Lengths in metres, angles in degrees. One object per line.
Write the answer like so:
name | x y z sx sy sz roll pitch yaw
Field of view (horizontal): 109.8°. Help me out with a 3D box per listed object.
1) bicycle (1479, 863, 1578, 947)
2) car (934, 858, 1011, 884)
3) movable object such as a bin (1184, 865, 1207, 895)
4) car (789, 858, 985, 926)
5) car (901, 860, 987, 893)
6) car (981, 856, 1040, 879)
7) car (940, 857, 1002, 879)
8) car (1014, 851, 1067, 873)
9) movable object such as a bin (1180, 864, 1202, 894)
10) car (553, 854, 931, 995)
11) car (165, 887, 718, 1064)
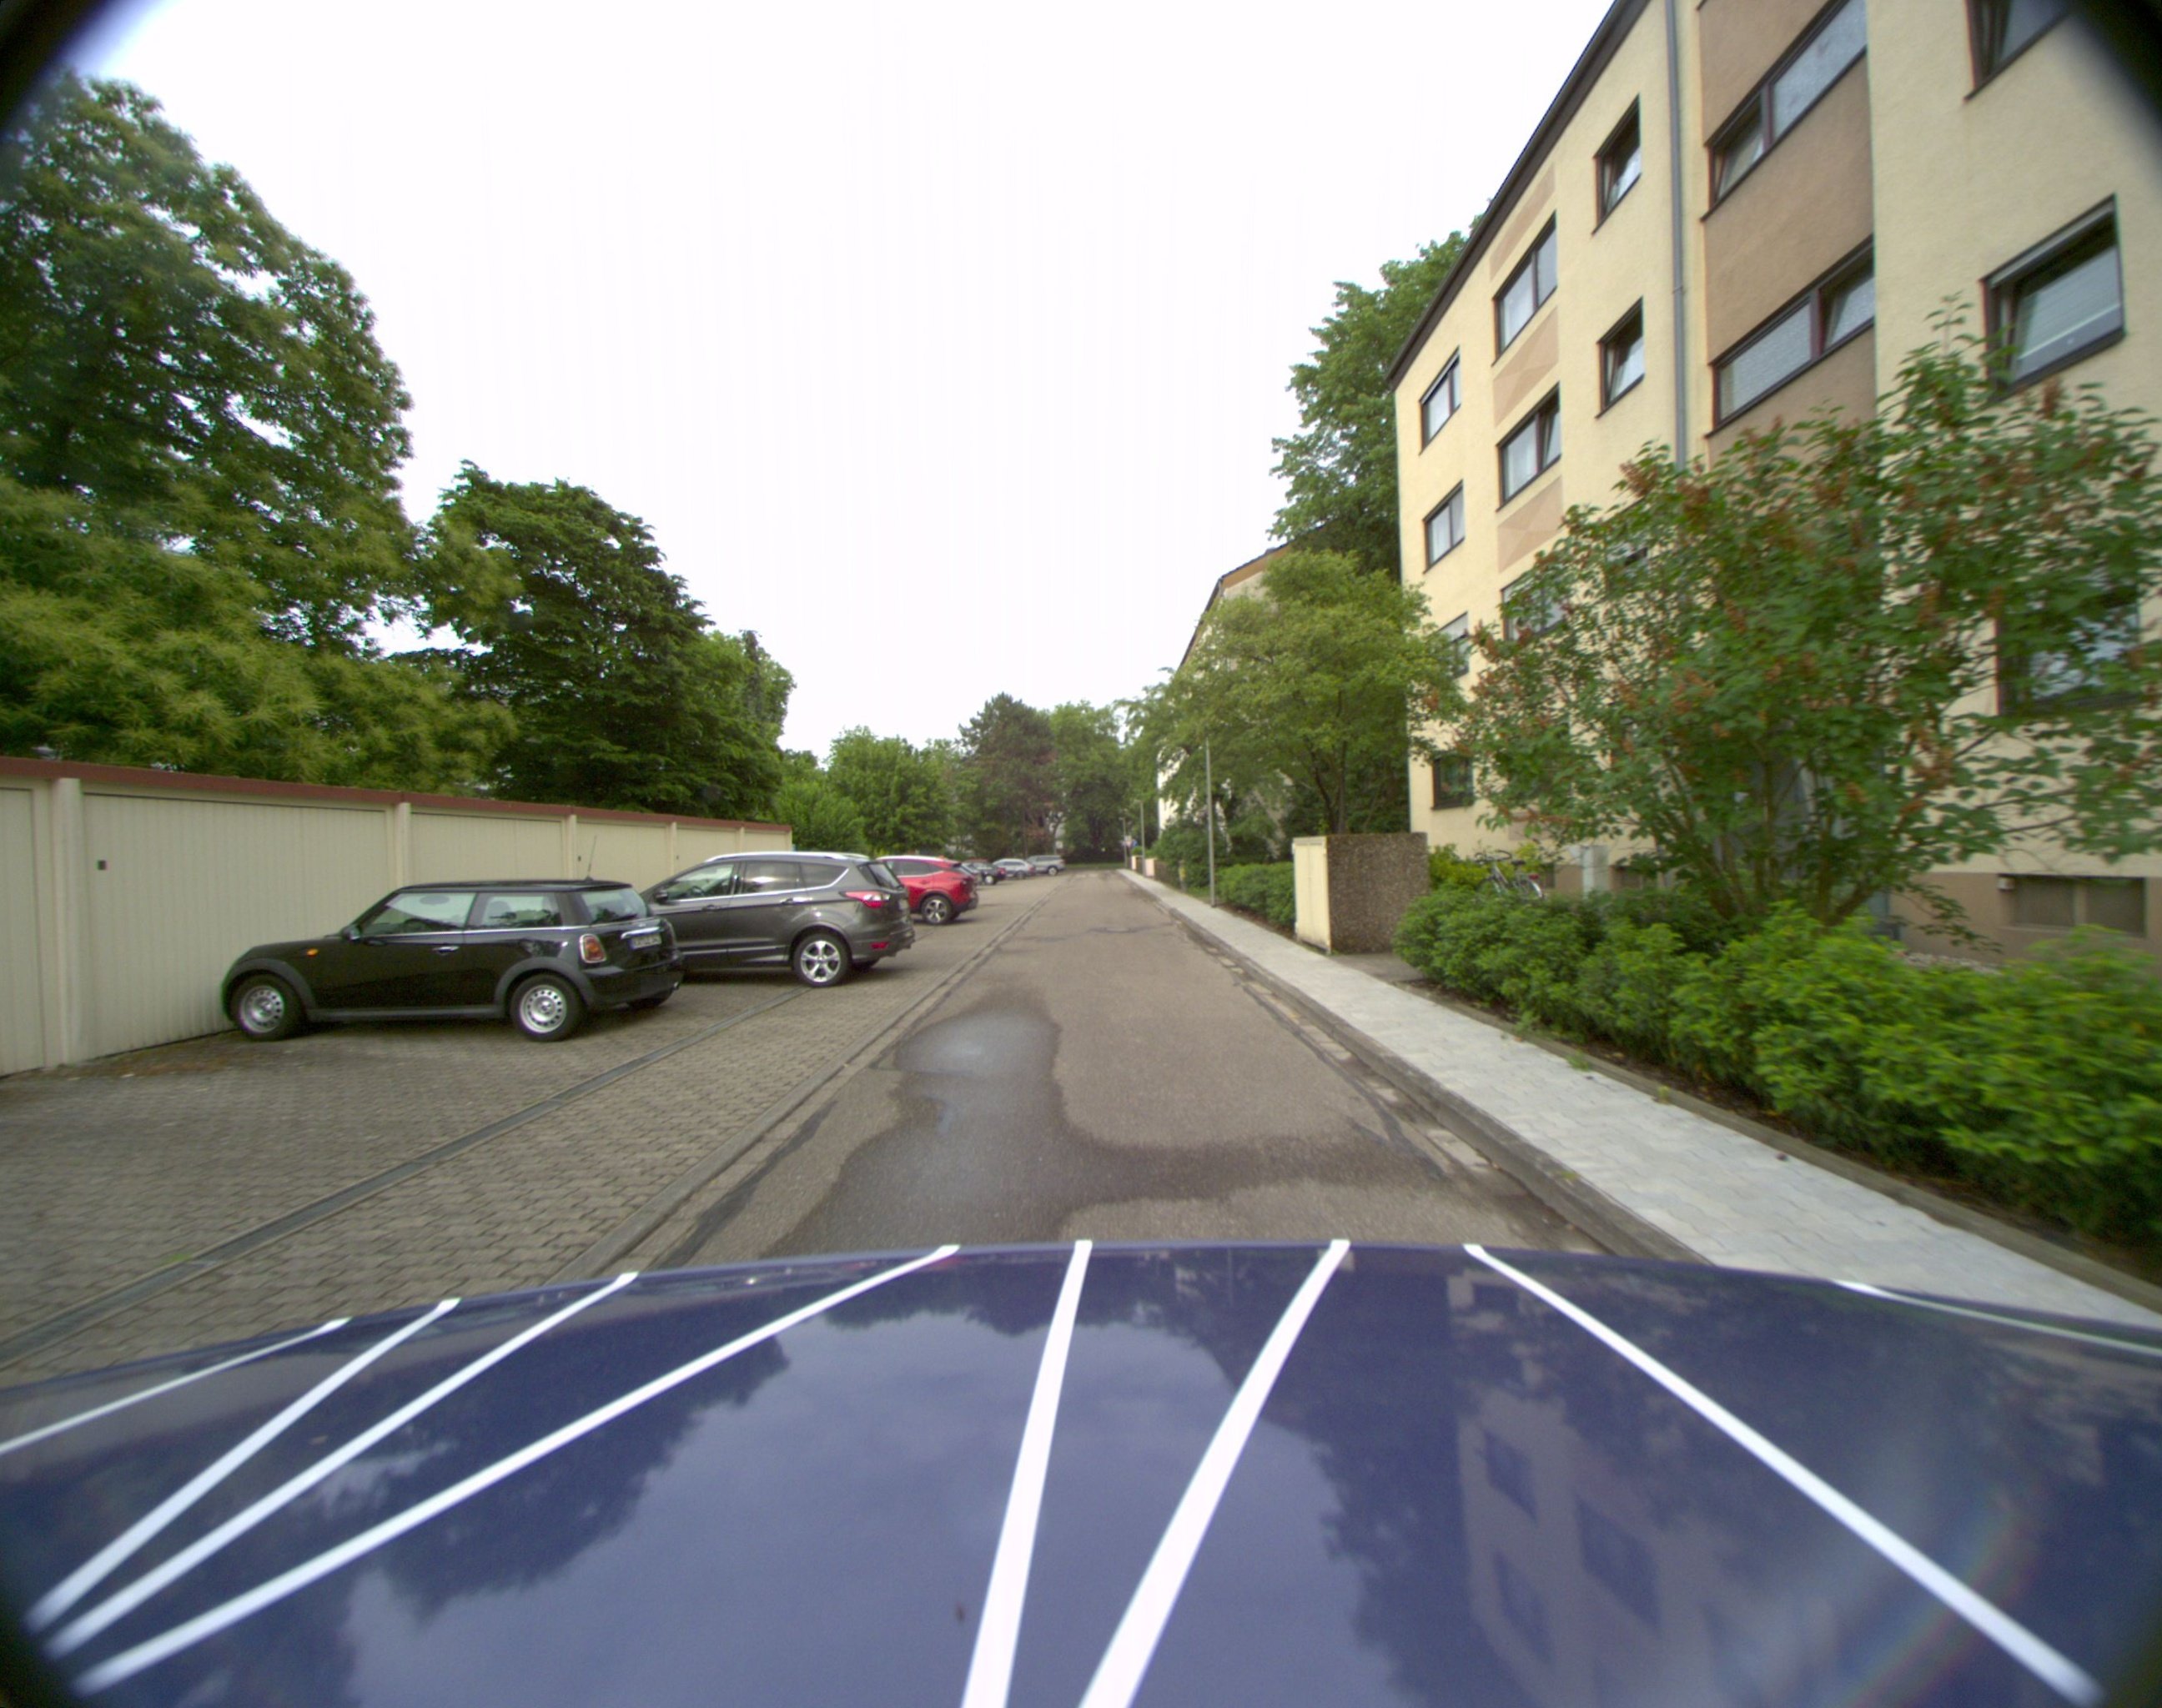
bicycle | 6.052 0.654 10.374 0.315 1.045 1.691 -2 -1 0
car | -6.503 0.997 45.864 4.334 1.476 1.788 1 0 1
movable object such as a bin | 3.889 0.883 25.898 0.597 1.016 0.536 0 0 -19
car | -4.637 0.892 18.672 4.299 1.577 1.935 0 0 0
car | -6.862 1.115 38.236 3.976 1.426 1.731 -2 0 -2
car | -5.189 1.010 56.399 4.104 1.476 1.787 -2 0 0
car | -7.755 0.955 54.043 4.103 1.476 1.788 1 0 1
car | -3.272 0.650 61.433 4.104 1.636 1.787 -2 1 0
movable object such as a bin | 3.834 0.864 26.523 0.597 1.016 0.536 0 0 -19
car | -4.335 0.859 10.271 4.205 1.717 2.000 0 0 0
car | -5.968 1.085 7.518 3.766 1.437 2.000 0 0 0
